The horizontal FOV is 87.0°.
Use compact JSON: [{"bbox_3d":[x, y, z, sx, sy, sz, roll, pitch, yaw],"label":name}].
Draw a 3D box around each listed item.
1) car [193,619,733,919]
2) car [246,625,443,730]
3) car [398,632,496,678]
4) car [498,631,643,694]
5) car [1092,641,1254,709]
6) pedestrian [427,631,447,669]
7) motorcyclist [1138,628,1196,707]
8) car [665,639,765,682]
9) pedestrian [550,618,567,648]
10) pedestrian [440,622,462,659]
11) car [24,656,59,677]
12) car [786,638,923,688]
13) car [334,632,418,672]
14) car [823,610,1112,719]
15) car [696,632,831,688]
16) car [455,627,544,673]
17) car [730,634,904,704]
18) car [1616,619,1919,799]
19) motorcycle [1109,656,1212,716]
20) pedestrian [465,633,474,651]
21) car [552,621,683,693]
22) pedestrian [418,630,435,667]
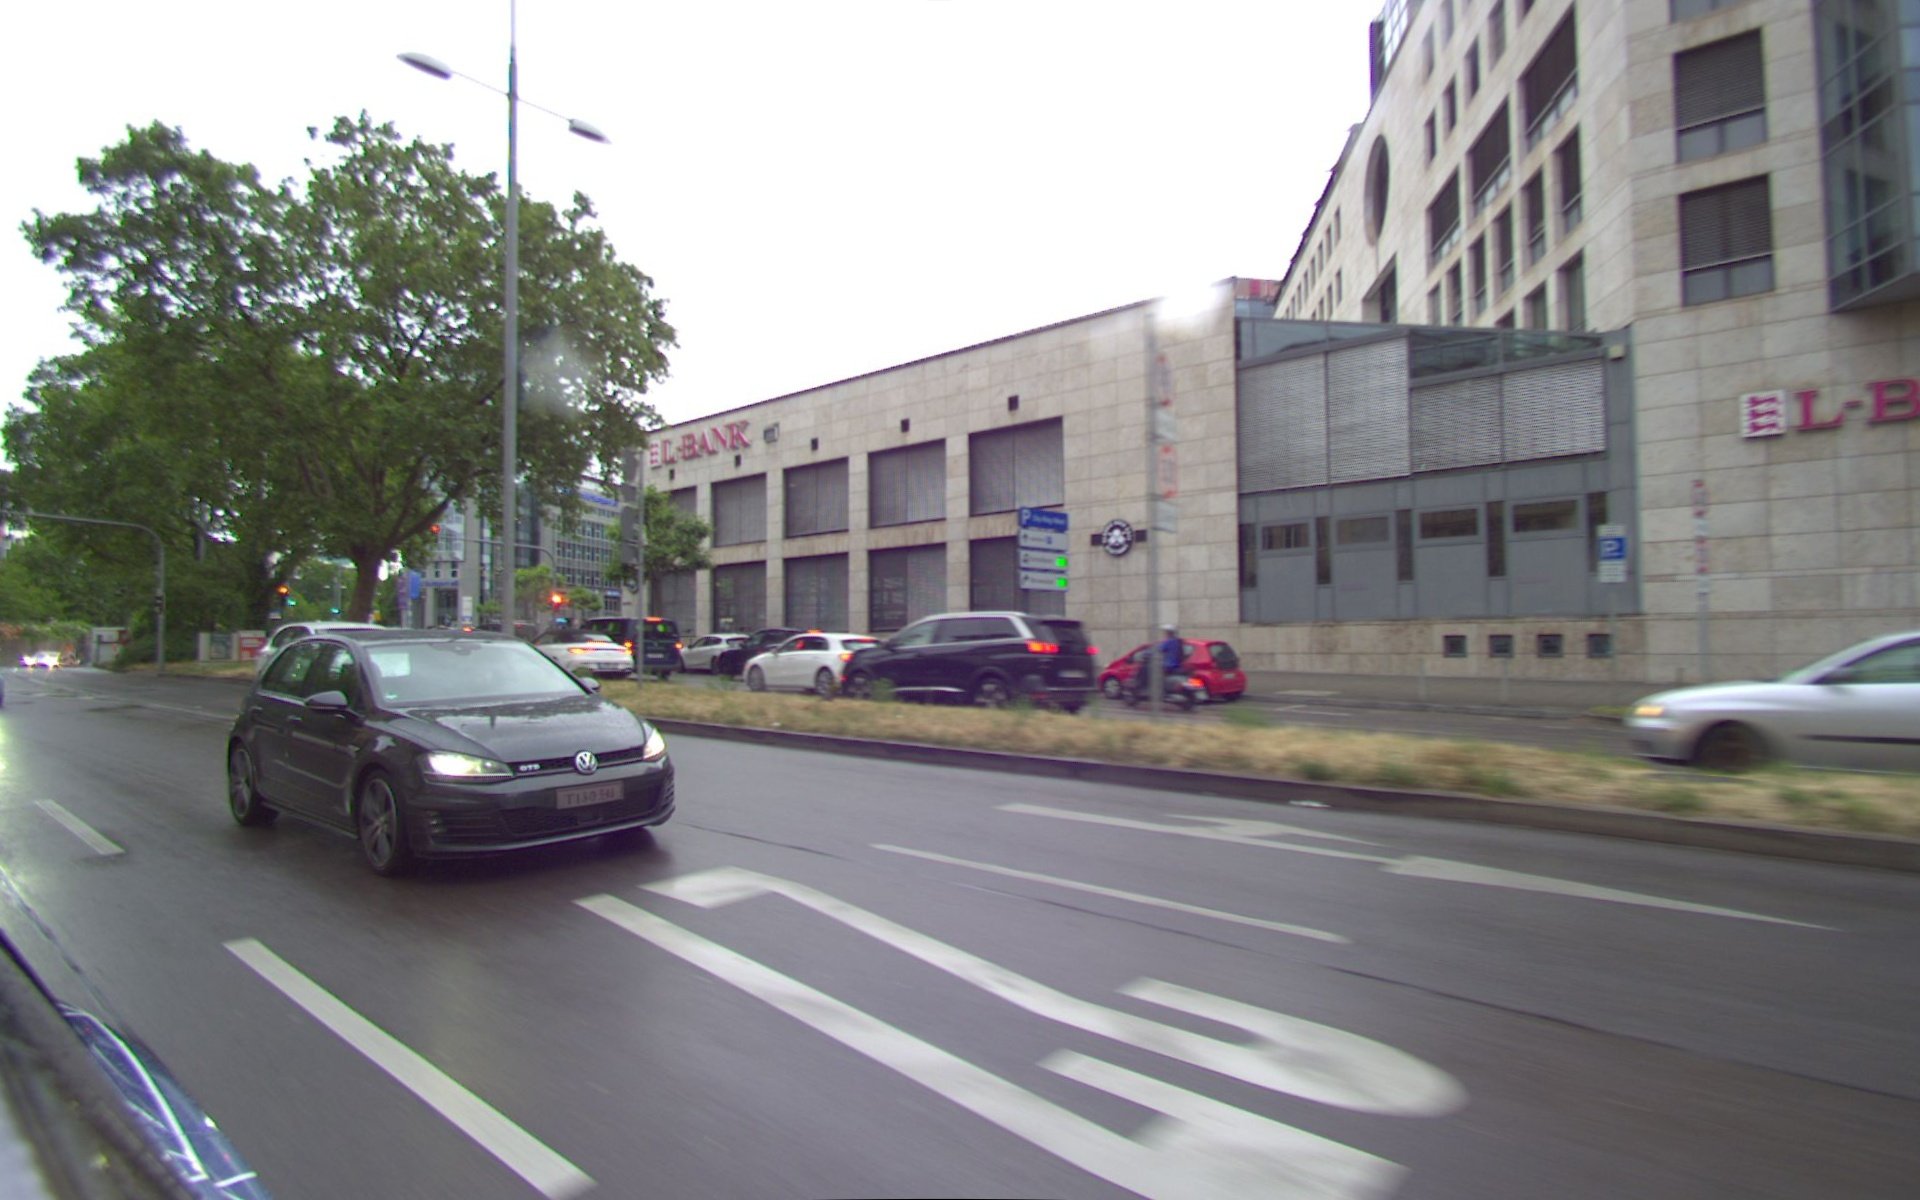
[{"bbox_3d":[-3.566,0.893,6.946,4.118,1.463,1.767,-2,-2,39],"label":"car"},{"bbox_3d":[-10.805,1.255,17.680,3.997,1.608,1.758,-1,-2,40],"label":"car"},{"bbox_3d":[-16.443,1.718,32.337,1.726,1.375,3.947,2,-2,-43],"label":"car"},{"bbox_3d":[-10.096,1.557,26.079,4.315,1.453,1.839,-1,-3,44],"label":"car"},{"bbox_3d":[4.917,1.683,23.588,1.573,1.426,3.403,2,-3,-44],"label":"car"},{"bbox_3d":[-23.028,2.202,44.545,0.635,1.626,0.446,-1,-2,11],"label":"pedestrian"},{"bbox_3d":[4.147,1.347,20.287,0.972,1.541,0.515,-3,-3,41],"label":"motorcyclist"},{"bbox_3d":[-9.184,2.213,37.750,1.726,1.426,4.297,2,-2,-43],"label":"car"},{"bbox_3d":[-26.153,2.167,65.864,1.125,1.939,0.582,-2,-2,41],"label":"pedestrian"},{"bbox_3d":[-22.365,1.784,44.497,0.635,1.626,0.608,-1,-2,11],"label":"pedestrian"},{"bbox_3d":[-67.344,4.877,74.237,1.690,1.452,3.501,1,-3,-38],"label":"car"},{"bbox_3d":[-3.368,1.919,31.711,1.727,1.426,4.708,2,-3,-44],"label":"car"},{"bbox_3d":[-21.510,1.876,37.201,1.726,1.375,4.134,2,-2,-43],"label":"car"},{"bbox_3d":[-0.018,0.919,15.683,4.583,1.448,1.681,-1,-3,44],"label":"car"},{"bbox_3d":[-6.042,1.763,30.772,4.642,1.544,1.707,-1,-3,45],"label":"car"},{"bbox_3d":[-17.679,1.888,38.757,1.809,1.652,4.095,2,-3,-44],"label":"car"},{"bbox_3d":[-3.430,1.545,23.677,4.397,1.443,1.707,-1,-3,45],"label":"car"},{"bbox_3d":[7.926,0.853,8.256,4.117,1.370,1.579,-1,-2,43],"label":"car"},{"bbox_3d":[4.031,1.710,20.450,2.032,1.139,0.543,-3,-3,42],"label":"motorcycle"},{"bbox_3d":[-45.134,3.836,93.173,0.570,1.639,0.564,0,-2,-9],"label":"pedestrian"},{"bbox_3d":[-10.604,1.673,31.103,1.809,2.017,5.108,2,-3,-44],"label":"car"},{"bbox_3d":[-23.591,2.136,44.766,0.551,1.626,0.422,-2,-2,23],"label":"pedestrian"}]
